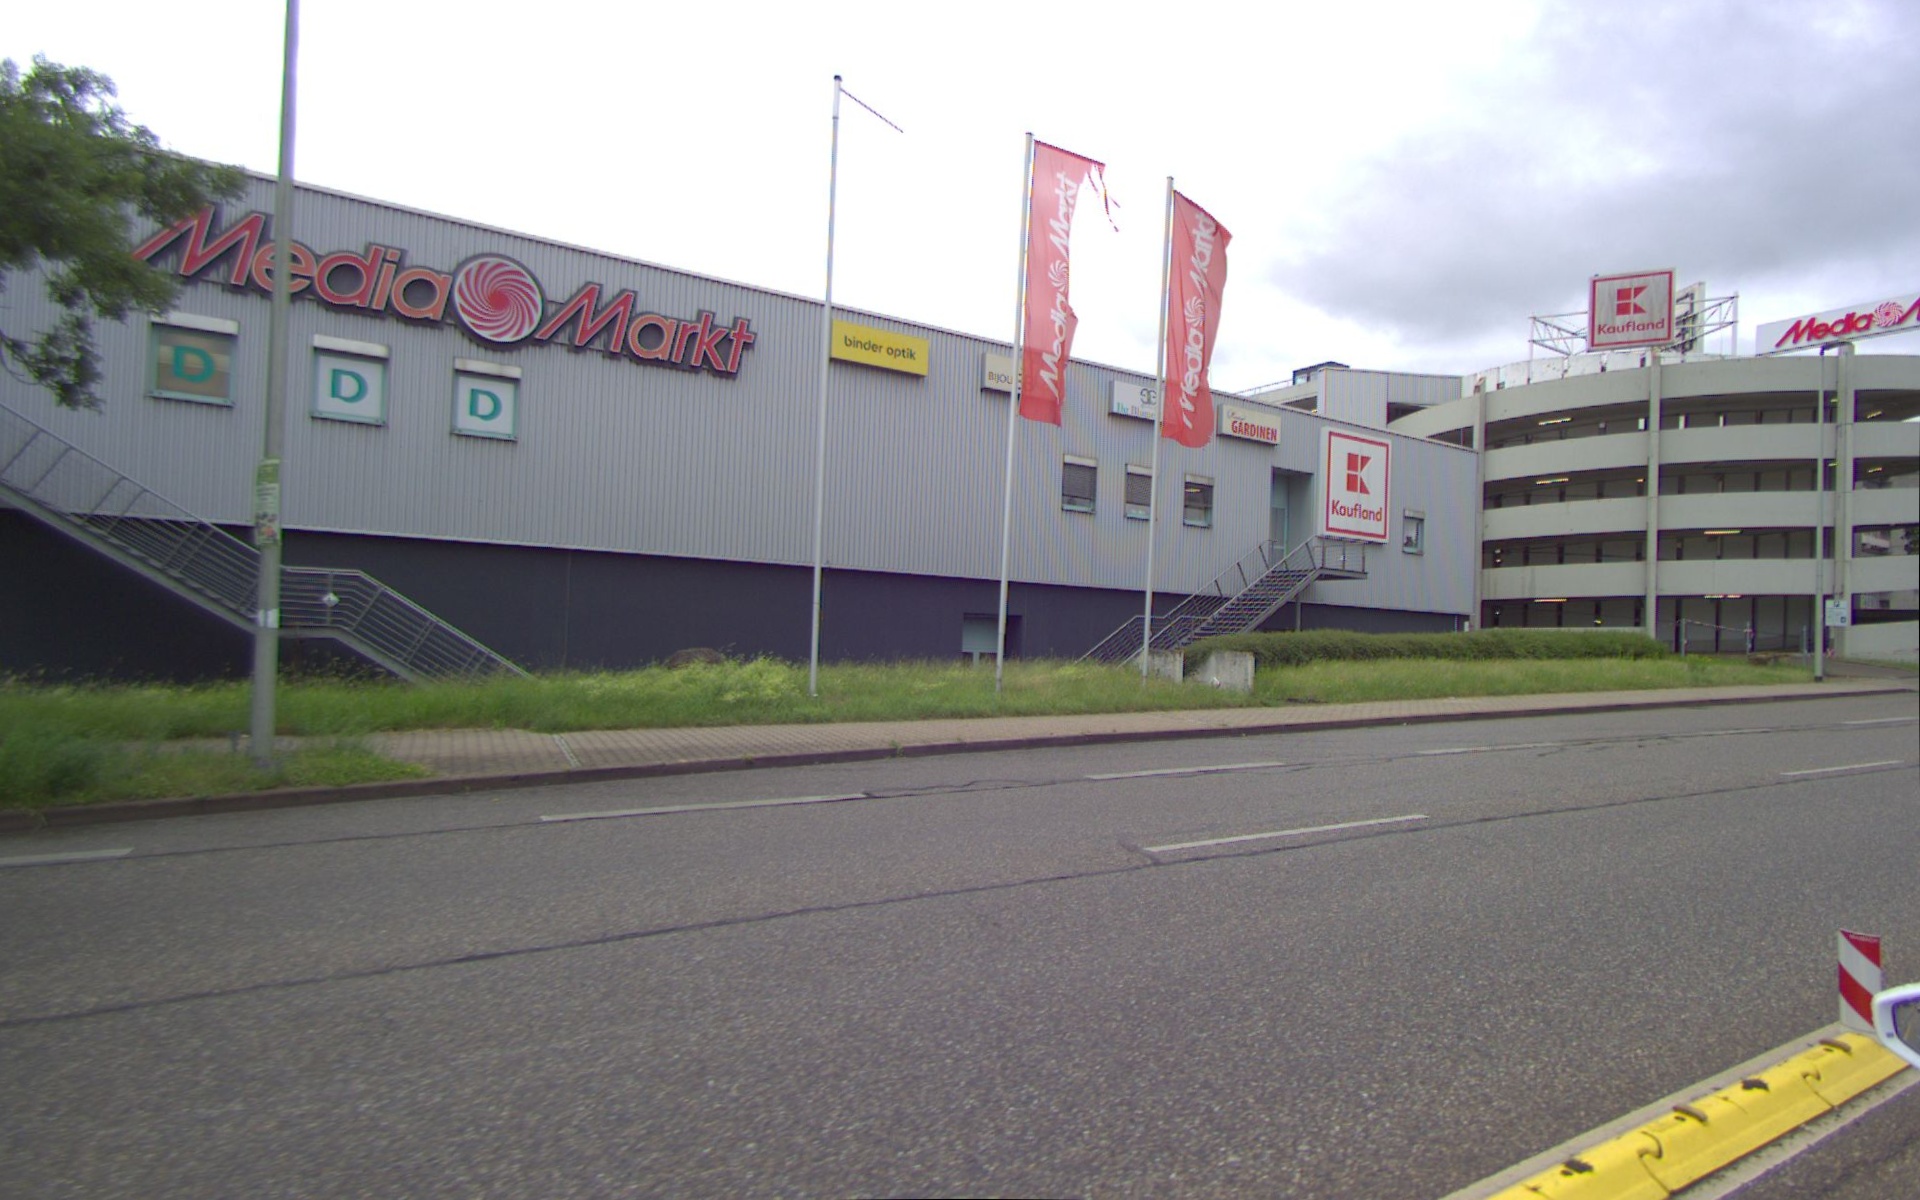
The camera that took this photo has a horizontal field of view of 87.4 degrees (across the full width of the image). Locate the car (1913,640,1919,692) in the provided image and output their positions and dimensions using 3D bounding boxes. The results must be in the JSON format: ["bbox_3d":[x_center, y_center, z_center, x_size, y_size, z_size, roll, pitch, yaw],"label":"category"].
[{"bbox_3d":[28.561,1.821,28.041,4.377,1.427,1.888,1,-2,-33],"label":"car"}]
